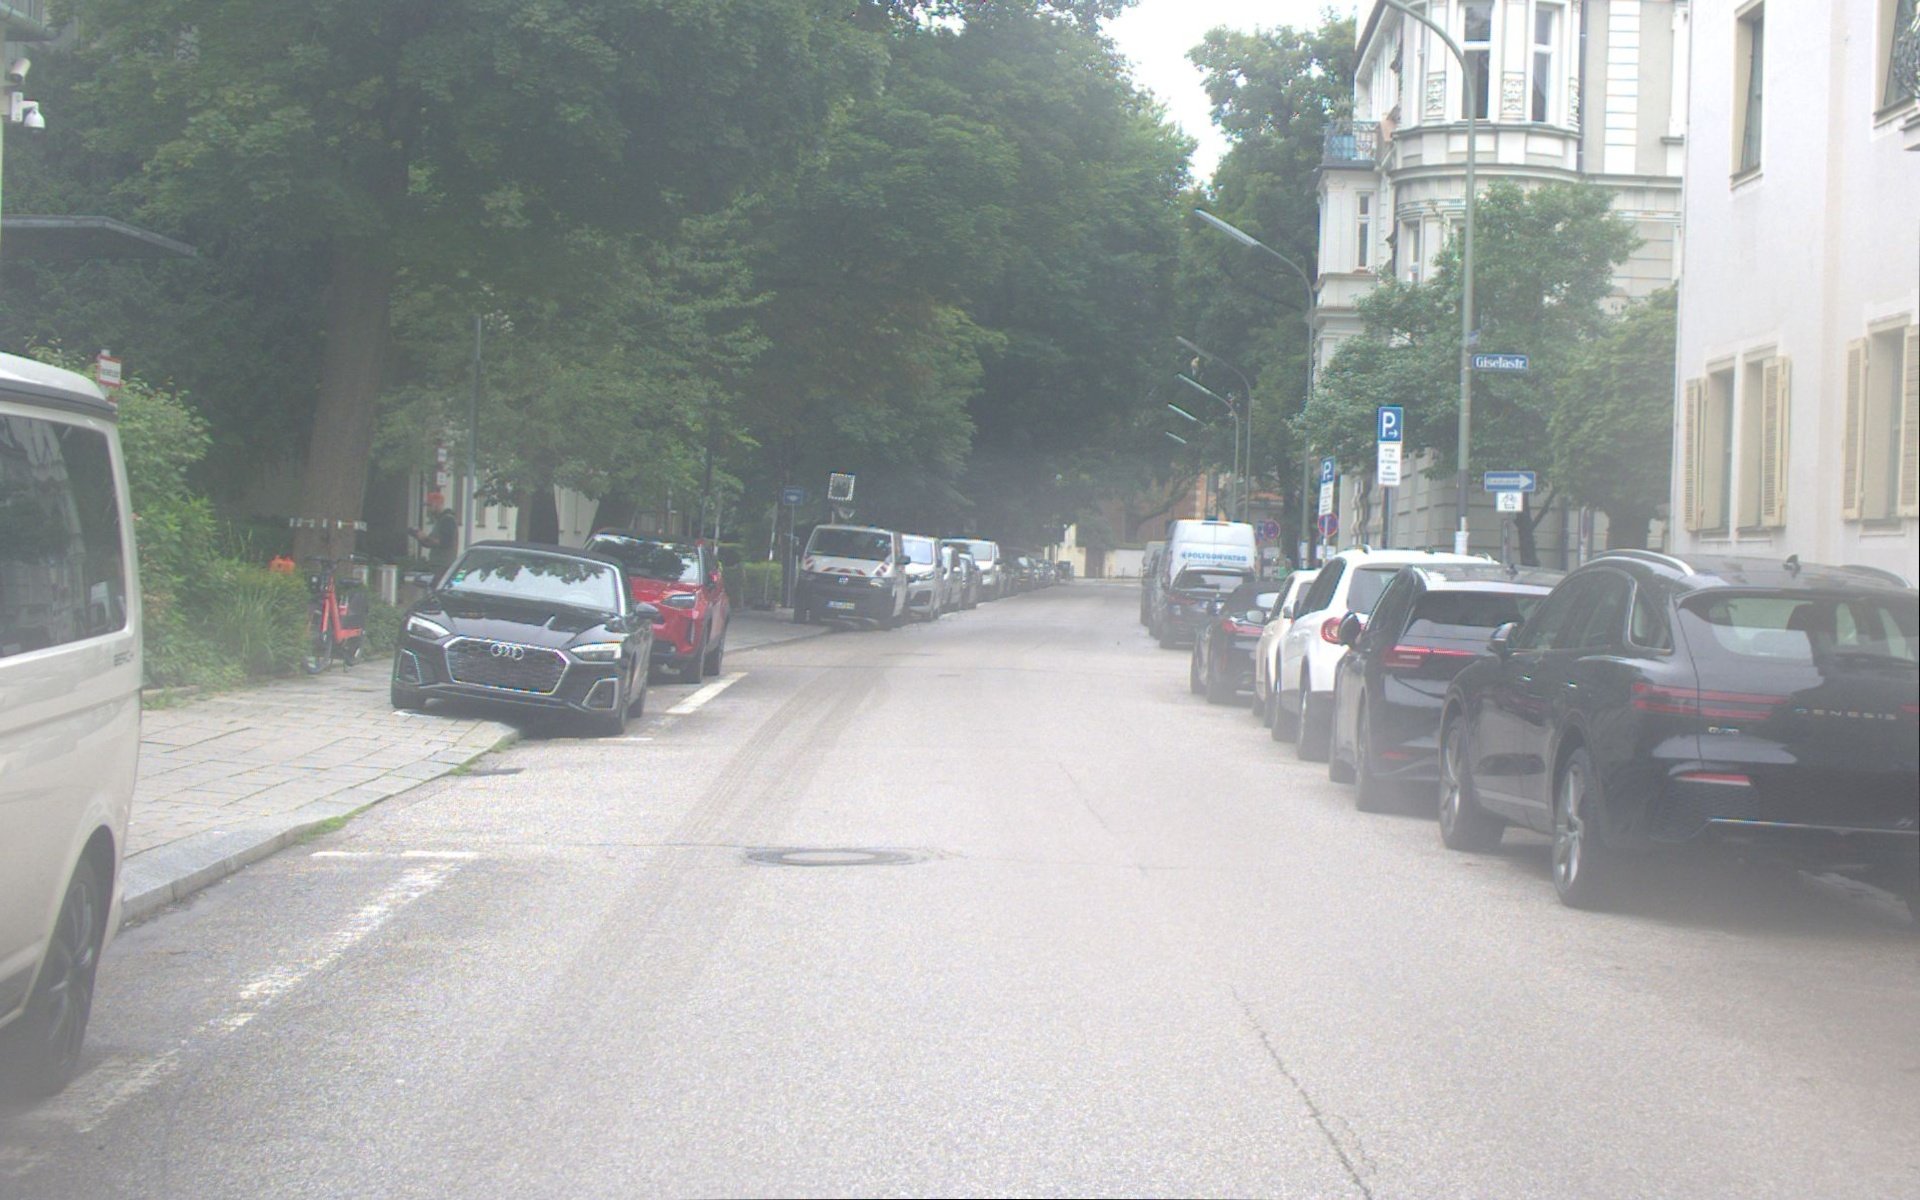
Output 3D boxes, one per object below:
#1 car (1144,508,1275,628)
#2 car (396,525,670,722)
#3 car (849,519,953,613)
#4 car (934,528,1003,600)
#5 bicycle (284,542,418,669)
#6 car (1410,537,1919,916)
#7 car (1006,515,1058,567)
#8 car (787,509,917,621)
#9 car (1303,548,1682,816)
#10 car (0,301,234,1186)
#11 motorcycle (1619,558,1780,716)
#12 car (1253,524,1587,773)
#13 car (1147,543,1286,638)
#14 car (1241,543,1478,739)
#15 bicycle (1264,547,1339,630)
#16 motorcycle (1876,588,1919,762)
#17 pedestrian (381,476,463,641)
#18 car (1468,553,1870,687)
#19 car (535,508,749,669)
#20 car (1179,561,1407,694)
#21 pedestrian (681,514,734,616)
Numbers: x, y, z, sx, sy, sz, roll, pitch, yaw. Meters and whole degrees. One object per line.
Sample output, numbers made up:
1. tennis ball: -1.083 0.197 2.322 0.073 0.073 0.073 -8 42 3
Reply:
1. car: 4.757 -0.616 66.220 2.203 2.201 4.855 1 0 1
2. car: -3.445 0.138 28.542 1.807 1.397 4.925 3 1 -3
3. car: -1.316 -0.782 78.111 2.183 1.950 5.167 3 1 0
4. car: 0.305 -1.164 111.074 2.002 2.179 4.696 3 1 2
5. bicycle: -5.688 0.035 32.217 0.649 1.126 2.047 2 1 7
6. car: 3.585 0.496 16.915 1.860 1.571 4.900 1 1 -3
7. car: 3.162 -2.572 150.764 2.047 2.147 4.314 3 1 0
8. car: -2.034 -0.693 66.411 2.247 1.950 5.454 3 1 0
9. car: 3.340 0.445 22.354 1.838 1.526 4.415 1 1 1
10. car: -3.109 0.287 7.762 1.966 1.983 5.152 3 1 -3
11. motorcycle: 7.147 0.329 33.373 0.857 1.428 2.707 2 1 -1
12. car: 3.589 0.320 27.655 1.993 1.701 4.534 4 1 0
13. car: 4.423 -0.179 59.268 2.273 1.541 4.586 1 0 4
14. car: 3.685 0.337 32.277 1.771 1.541 3.711 7 1 2
15. bicycle: 6.510 -0.233 65.643 0.707 1.510 2.039 2 1 -14
16. motorcycle: 7.239 0.557 24.583 0.732 1.235 2.008 3 0 -1
17. pedestrian: -6.193 -0.479 39.623 0.712 1.846 0.797 3 0 1
18. car: 9.377 0.247 45.762 4.906 1.526 1.913 2 3 0
19. car: -3.467 -0.151 38.276 1.887 1.585 4.528 3 1 0
20. car: 3.522 0.251 37.156 2.000 1.314 4.595 0 1 0
21. pedestrian: -3.927 -0.549 53.530 0.713 1.543 0.753 4 1 -3
